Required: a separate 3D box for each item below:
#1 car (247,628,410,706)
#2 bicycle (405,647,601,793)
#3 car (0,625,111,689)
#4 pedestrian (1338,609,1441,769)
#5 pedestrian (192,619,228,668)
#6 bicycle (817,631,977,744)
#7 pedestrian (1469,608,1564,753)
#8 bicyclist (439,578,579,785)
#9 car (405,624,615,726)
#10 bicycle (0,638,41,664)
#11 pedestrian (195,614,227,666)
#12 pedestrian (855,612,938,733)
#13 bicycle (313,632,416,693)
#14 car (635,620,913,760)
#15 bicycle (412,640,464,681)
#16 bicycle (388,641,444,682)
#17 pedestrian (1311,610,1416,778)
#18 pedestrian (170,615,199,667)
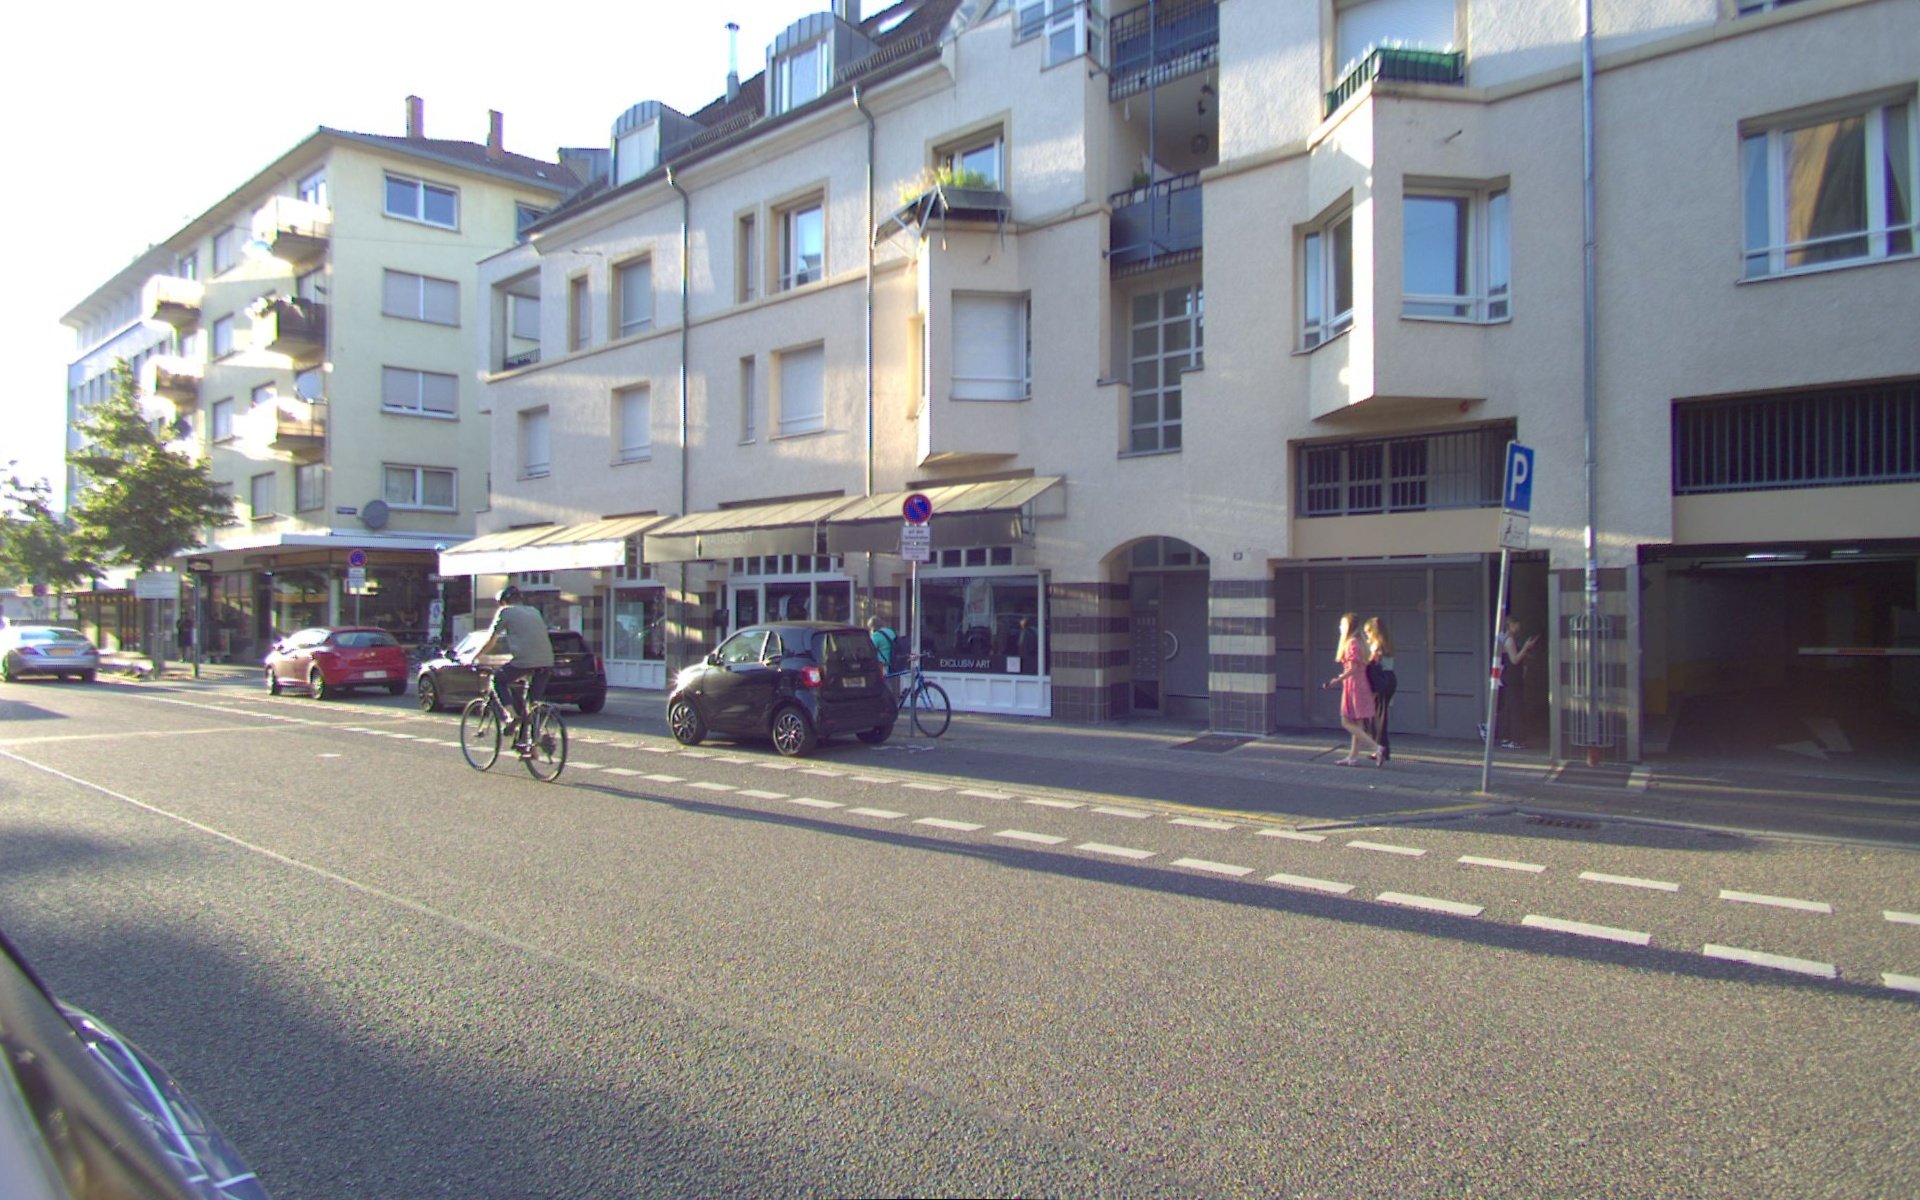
[{"bbox_3d":[-13.310,1.337,21.271,3.877,1.413,1.645,-1,0,37],"label":"car"},{"bbox_3d":[-4.393,1.082,9.679,2.016,1.213,0.774,-1,-2,35],"label":"bicycle"},{"bbox_3d":[-24.134,1.446,26.470,4.502,1.523,1.975,-1,-4,38],"label":"car"},{"bbox_3d":[4.717,0.931,11.112,0.855,1.654,0.709,-1,0,42],"label":"pedestrian"},{"bbox_3d":[-26.310,1.515,35.511,0.757,1.689,0.744,0,-1,-10],"label":"pedestrian"},{"bbox_3d":[-0.894,1.133,13.770,2.355,1.385,0.605,-1,0,37],"label":"bicycle"},{"bbox_3d":[6.588,0.912,11.983,0.854,1.628,0.709,-1,0,40],"label":"pedestrian"},{"bbox_3d":[-4.278,0.737,9.613,1.005,1.843,0.774,-1,-2,35],"label":"bicyclist"},{"bbox_3d":[-7.641,1.180,17.072,3.719,1.464,1.695,-1,0,38],"label":"car"},{"bbox_3d":[-38.576,2.064,40.966,0.490,0.999,1.993,-1,0,33],"label":"bicycle"},{"bbox_3d":[-26.944,1.450,36.408,0.812,1.833,0.733,-2,-3,39],"label":"pedestrian"},{"bbox_3d":[-0.909,1.005,14.488,0.949,1.654,0.710,-1,0,35],"label":"pedestrian"},{"bbox_3d":[-14.256,1.463,24.172,3.120,1.310,0.950,-1,0,36],"label":"bicycle"},{"bbox_3d":[-2.394,1.037,12.869,3.181,1.547,1.776,-1,-2,35],"label":"car"},{"bbox_3d":[-14.106,1.614,27.335,2.013,0.999,0.485,-1,0,39],"label":"bicycle"},{"bbox_3d":[-14.480,1.621,26.934,2.011,0.999,0.485,-1,0,36],"label":"bicycle"},{"bbox_3d":[4.202,0.934,10.537,0.853,1.654,0.710,-1,0,36],"label":"pedestrian"},{"bbox_3d":[-28.266,1.477,36.871,0.758,1.862,0.744,1,-3,-43],"label":"pedestrian"}]
